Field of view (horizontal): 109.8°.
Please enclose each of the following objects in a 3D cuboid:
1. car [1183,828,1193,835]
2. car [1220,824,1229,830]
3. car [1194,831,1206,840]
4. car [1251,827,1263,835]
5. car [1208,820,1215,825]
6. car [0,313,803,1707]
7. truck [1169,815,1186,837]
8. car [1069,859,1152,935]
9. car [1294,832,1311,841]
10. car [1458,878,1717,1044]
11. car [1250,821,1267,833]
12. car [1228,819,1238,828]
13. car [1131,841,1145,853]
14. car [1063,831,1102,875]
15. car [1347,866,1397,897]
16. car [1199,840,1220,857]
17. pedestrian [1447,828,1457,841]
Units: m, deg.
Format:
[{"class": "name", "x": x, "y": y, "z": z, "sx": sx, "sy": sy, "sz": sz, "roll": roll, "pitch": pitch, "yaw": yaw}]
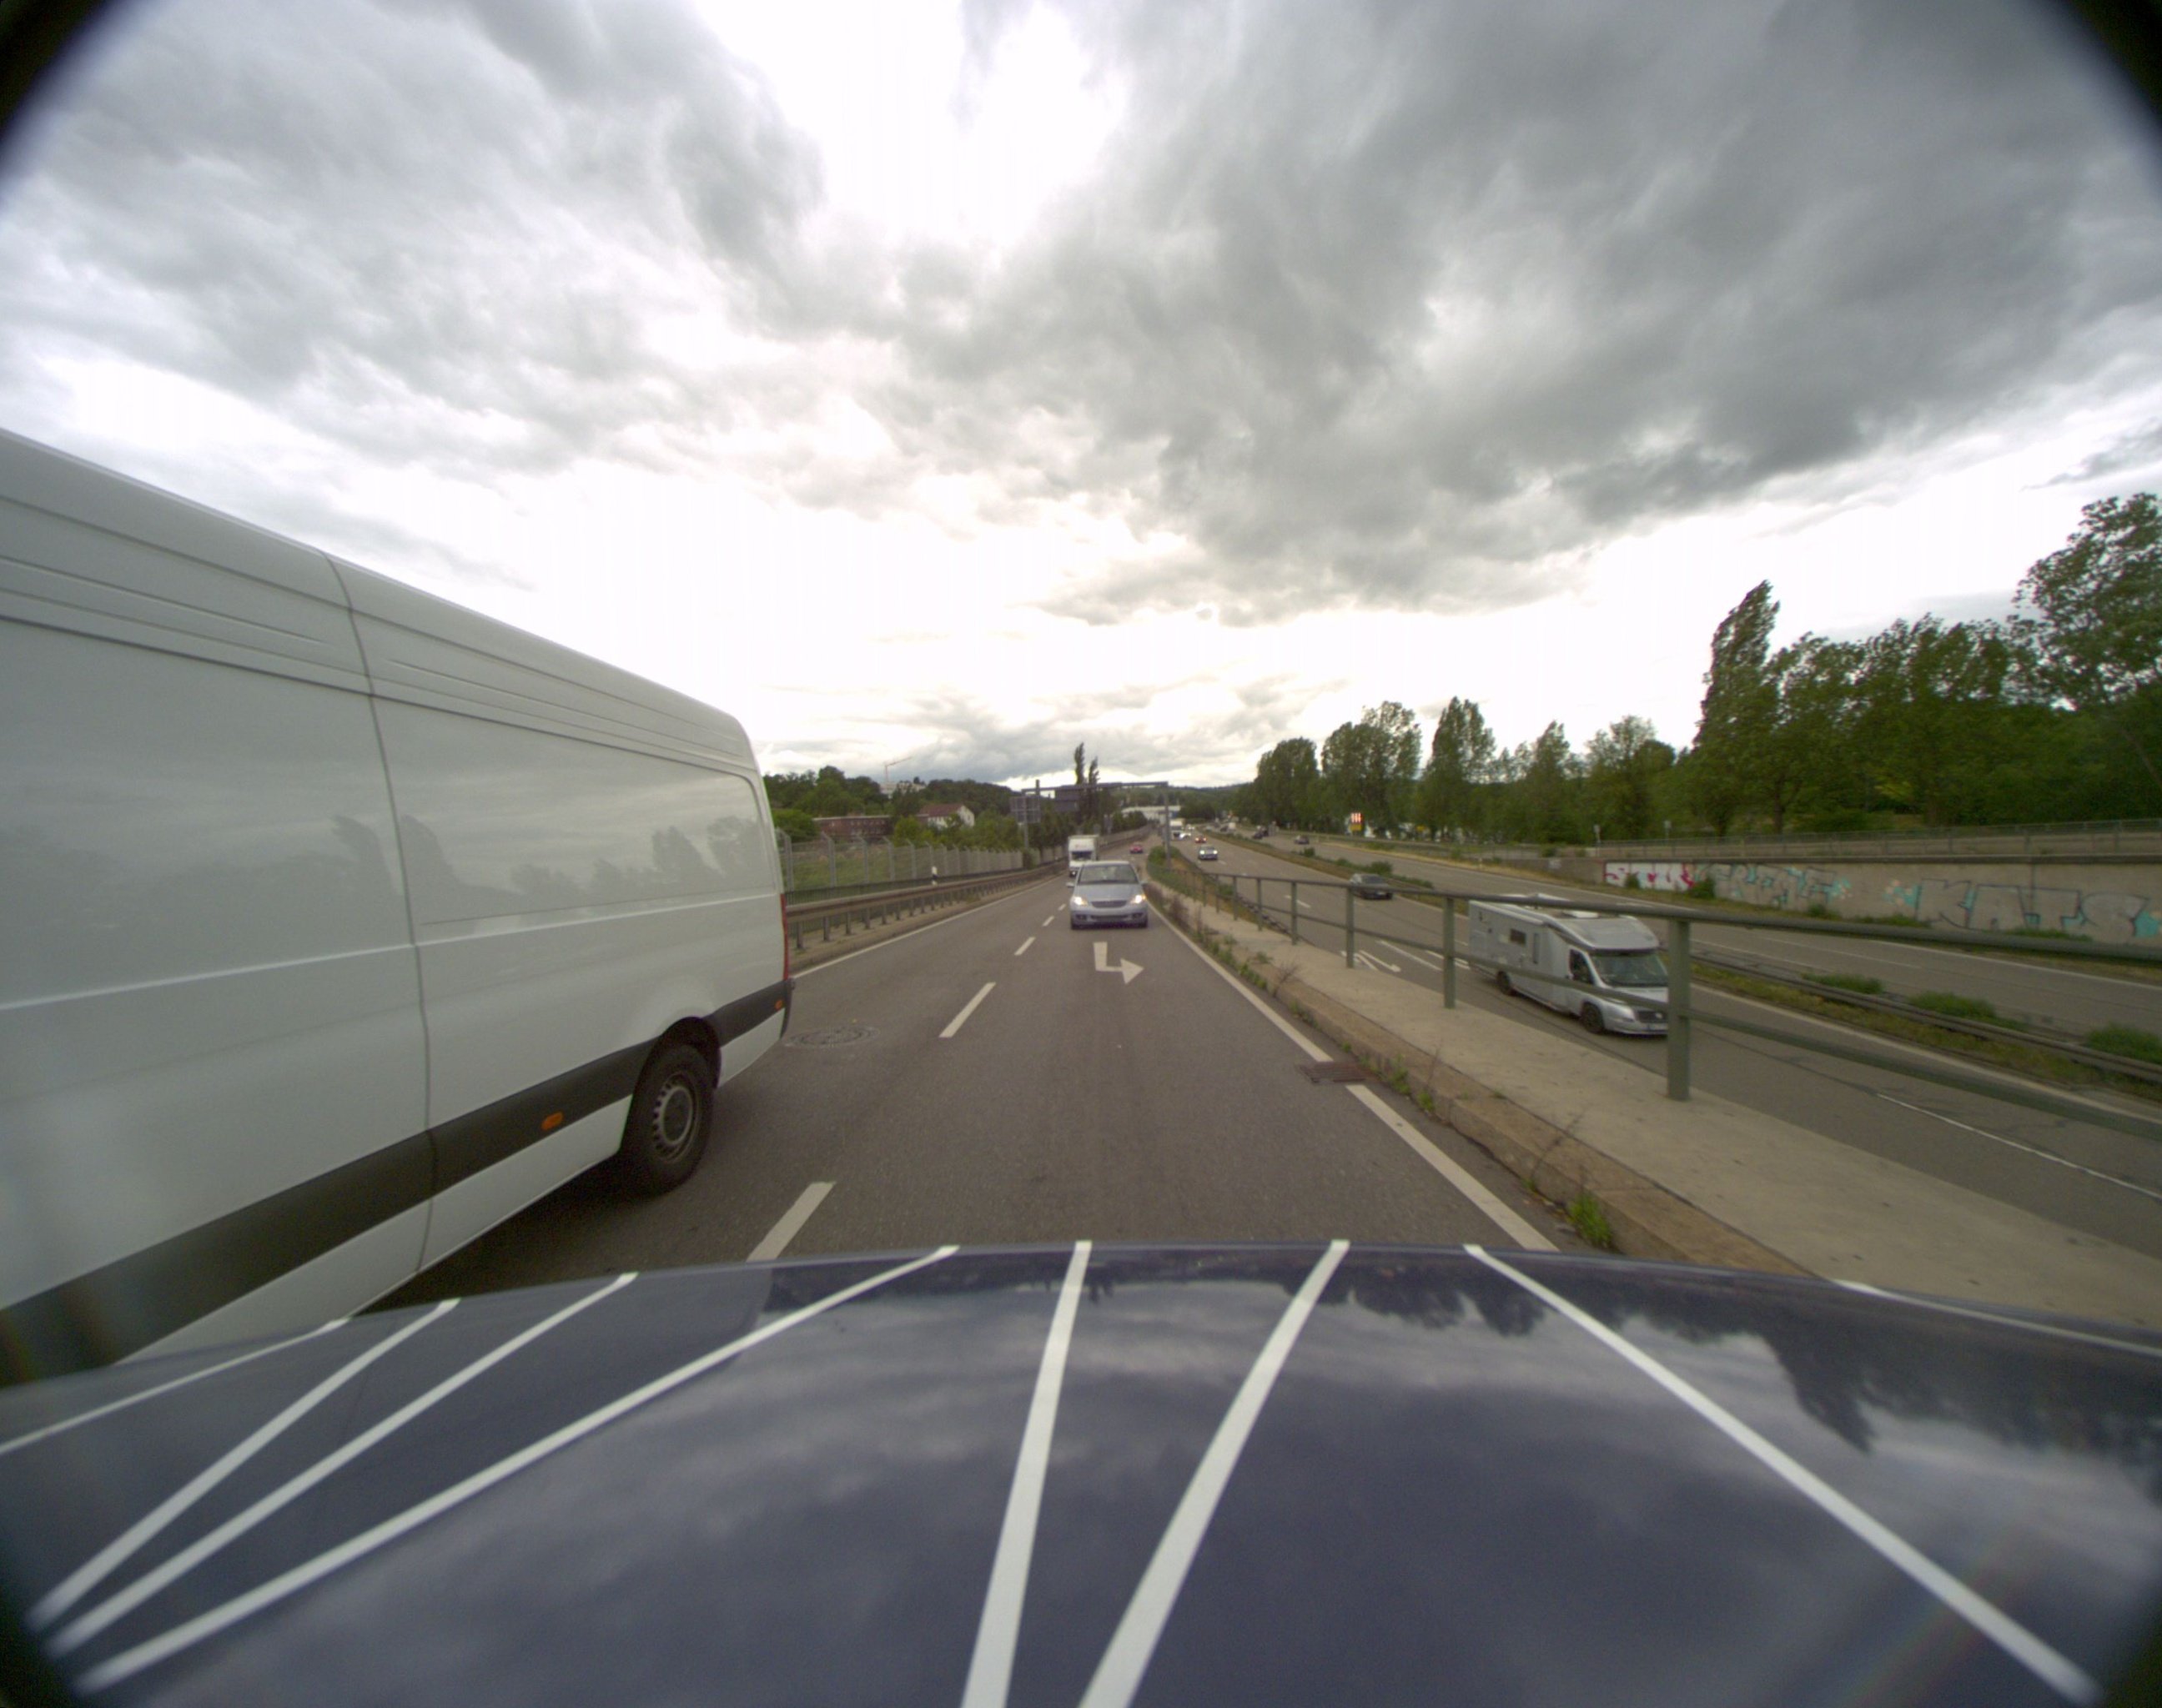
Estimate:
[{"class": "car", "x": 24.641, "y": -5.136, "z": 174.890, "sx": 1.919, "sy": 1.411, "sz": 4.275, "roll": -2, "pitch": 4, "yaw": 3}, {"class": "car", "x": 43.461, "y": -8.304, "z": 230.472, "sx": 1.903, "sy": 1.641, "sz": 4.331, "roll": -1, "pitch": 4, "yaw": 2}, {"class": "car", "x": 21.337, "y": -3.357, "z": 136.743, "sx": 1.756, "sy": 1.433, "sz": 4.162, "roll": -2, "pitch": 5, "yaw": 3}, {"class": "car", "x": 34.730, "y": -4.516, "z": 150.278, "sx": 1.668, "sy": 1.493, "sz": 3.856, "roll": 0, "pitch": 4, "yaw": 2}, {"class": "car", "x": 44.150, "y": -10.578, "z": 256.878, "sx": 1.761, "sy": 1.641, "sz": 3.930, "roll": -2, "pitch": 4, "yaw": 2}, {"class": "car", "x": -3.054, "y": 0.392, "z": 1.829, "sx": 2.115, "sy": 2.767, "sz": 6.779, "roll": -2, "pitch": 0, "yaw": 1}, {"class": "truck", "x": 19.599, "y": -5.727, "z": 153.976, "sx": 2.758, "sy": 4.229, "sz": 6.695, "roll": -1, "pitch": 3, "yaw": 2}, {"class": "car", "x": 0.711, "y": 0.957, "z": 18.758, "sx": 1.780, "sy": 1.578, "sz": 4.000, "roll": -2, "pitch": 0, "yaw": 2}, {"class": "car", "x": 36.128, "y": -2.878, "z": 124.222, "sx": 1.715, "sy": 1.368, "sz": 4.108, "roll": 0, "pitch": 4, "yaw": 2}, {"class": "car", "x": 13.856, "y": 2.661, "z": 21.791, "sx": 2.367, "sy": 3.223, "sz": 7.655, "roll": -1, "pitch": 3, "yaw": 1}, {"class": "car", "x": 38.833, "y": -5.913, "z": 166.324, "sx": 2.249, "sy": 2.533, "sz": 6.111, "roll": -1, "pitch": 3, "yaw": 1}, {"class": "car", "x": 49.237, "y": -9.879, "z": 245.849, "sx": 2.215, "sy": 2.765, "sz": 5.358, "roll": 0, "pitch": 4, "yaw": 2}, {"class": "car", "x": 8.038, "y": -0.965, "z": 107.144, "sx": 1.780, "sy": 1.578, "sz": 4.001, "roll": -2, "pitch": 0, "yaw": 4}, {"class": "car", "x": 0.187, "y": -0.129, "z": 62.747, "sx": 2.665, "sy": 3.310, "sz": 7.091, "roll": -2, "pitch": 1, "yaw": 3}, {"class": "car", "x": 18.678, "y": 1.730, "z": 48.888, "sx": 1.753, "sy": 1.561, "sz": 4.218, "roll": -2, "pitch": 3, "yaw": 2}, {"class": "car", "x": 14.802, "y": -0.631, "z": 87.724, "sx": 1.845, "sy": 1.789, "sz": 4.280, "roll": -2, "pitch": 0, "yaw": 2}, {"class": "pedestrian", "x": 50.547, "y": -2.622, "z": 103.584, "sx": 0.831, "sy": 1.696, "sz": 1.077, "roll": -2, "pitch": 4, "yaw": 3}]
